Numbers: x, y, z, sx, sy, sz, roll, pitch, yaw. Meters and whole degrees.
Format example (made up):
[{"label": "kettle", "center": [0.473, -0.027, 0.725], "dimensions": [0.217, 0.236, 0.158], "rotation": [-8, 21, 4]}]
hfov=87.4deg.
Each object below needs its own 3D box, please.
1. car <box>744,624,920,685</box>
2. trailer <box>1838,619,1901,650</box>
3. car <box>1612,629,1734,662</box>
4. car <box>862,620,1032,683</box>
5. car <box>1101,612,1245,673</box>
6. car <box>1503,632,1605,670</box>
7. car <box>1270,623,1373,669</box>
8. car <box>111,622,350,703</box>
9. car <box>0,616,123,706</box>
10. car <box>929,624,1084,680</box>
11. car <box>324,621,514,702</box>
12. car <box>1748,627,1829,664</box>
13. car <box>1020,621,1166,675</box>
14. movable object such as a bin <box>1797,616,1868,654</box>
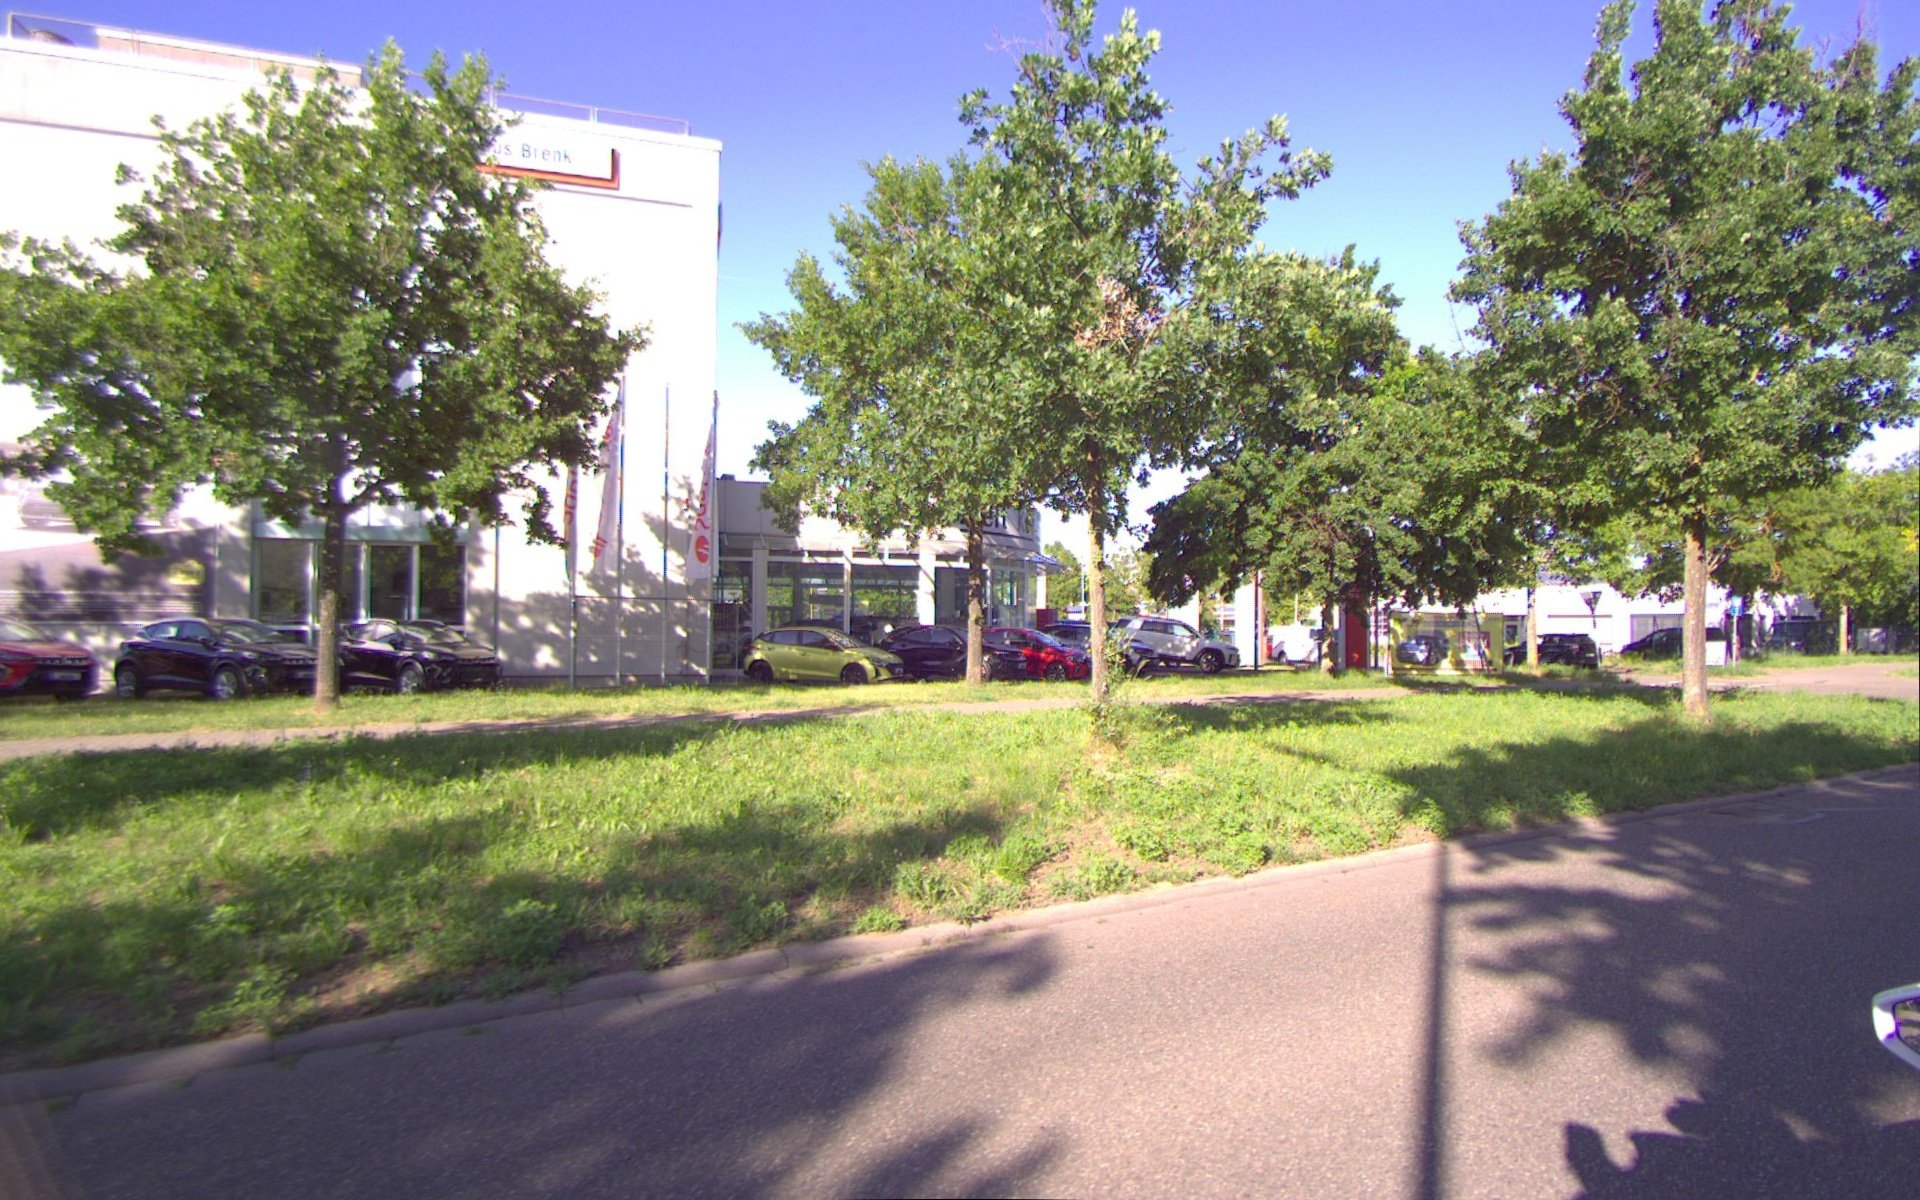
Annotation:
[{"label": "car", "center": [-3.162, 1.314, 25.007], "dimensions": [3.875, 1.420, 2.000], "rotation": [0, -2, 19]}, {"label": "trailer", "center": [59.019, 2.236, 65.176], "dimensions": [3.699, 1.940, 2.091], "rotation": [1, -2, -32]}, {"label": "car", "center": [34.563, 2.179, 48.836], "dimensions": [1.918, 1.499, 4.481], "rotation": [1, -2, -29]}, {"label": "car", "center": [-0.327, 1.329, 26.572], "dimensions": [4.087, 1.558, 1.897], "rotation": [0, -2, 19]}, {"label": "car", "center": [7.485, 1.469, 35.231], "dimensions": [4.762, 2.040, 2.000], "rotation": [0, -2, 19]}, {"label": "car", "center": [26.127, 2.210, 44.296], "dimensions": [1.792, 1.553, 3.670], "rotation": [1, -2, -15]}, {"label": "car", "center": [16.143, 2.022, 45.169], "dimensions": [1.908, 1.931, 5.014], "rotation": [0, -2, -13]}, {"label": "car", "center": [-14.192, 1.164, 19.585], "dimensions": [3.920, 1.467, 1.802], "rotation": [0, -2, 18]}, {"label": "car", "center": [-17.313, 1.031, 17.794], "dimensions": [3.919, 1.467, 1.802], "rotation": [0, -2, 13]}, {"label": "car", "center": [1.358, 1.467, 29.162], "dimensions": [4.089, 1.510, 2.000], "rotation": [0, -2, 22]}, {"label": "car", "center": [-11.373, 1.218, 21.083], "dimensions": [3.930, 1.531, 1.797], "rotation": [-1, -1, 32]}, {"label": "car", "center": [47.913, 2.593, 58.043], "dimensions": [5.744, 2.015, 2.024], "rotation": [1, -2, -33]}, {"label": "car", "center": [4.133, 1.461, 31.268], "dimensions": [4.095, 1.583, 1.997], "rotation": [-1, -2, 29]}, {"label": "movable object such as a bin", "center": [53.173, 2.102, 61.212], "dimensions": [4.410, 2.246, 2.091], "rotation": [1, -2, -32]}]
